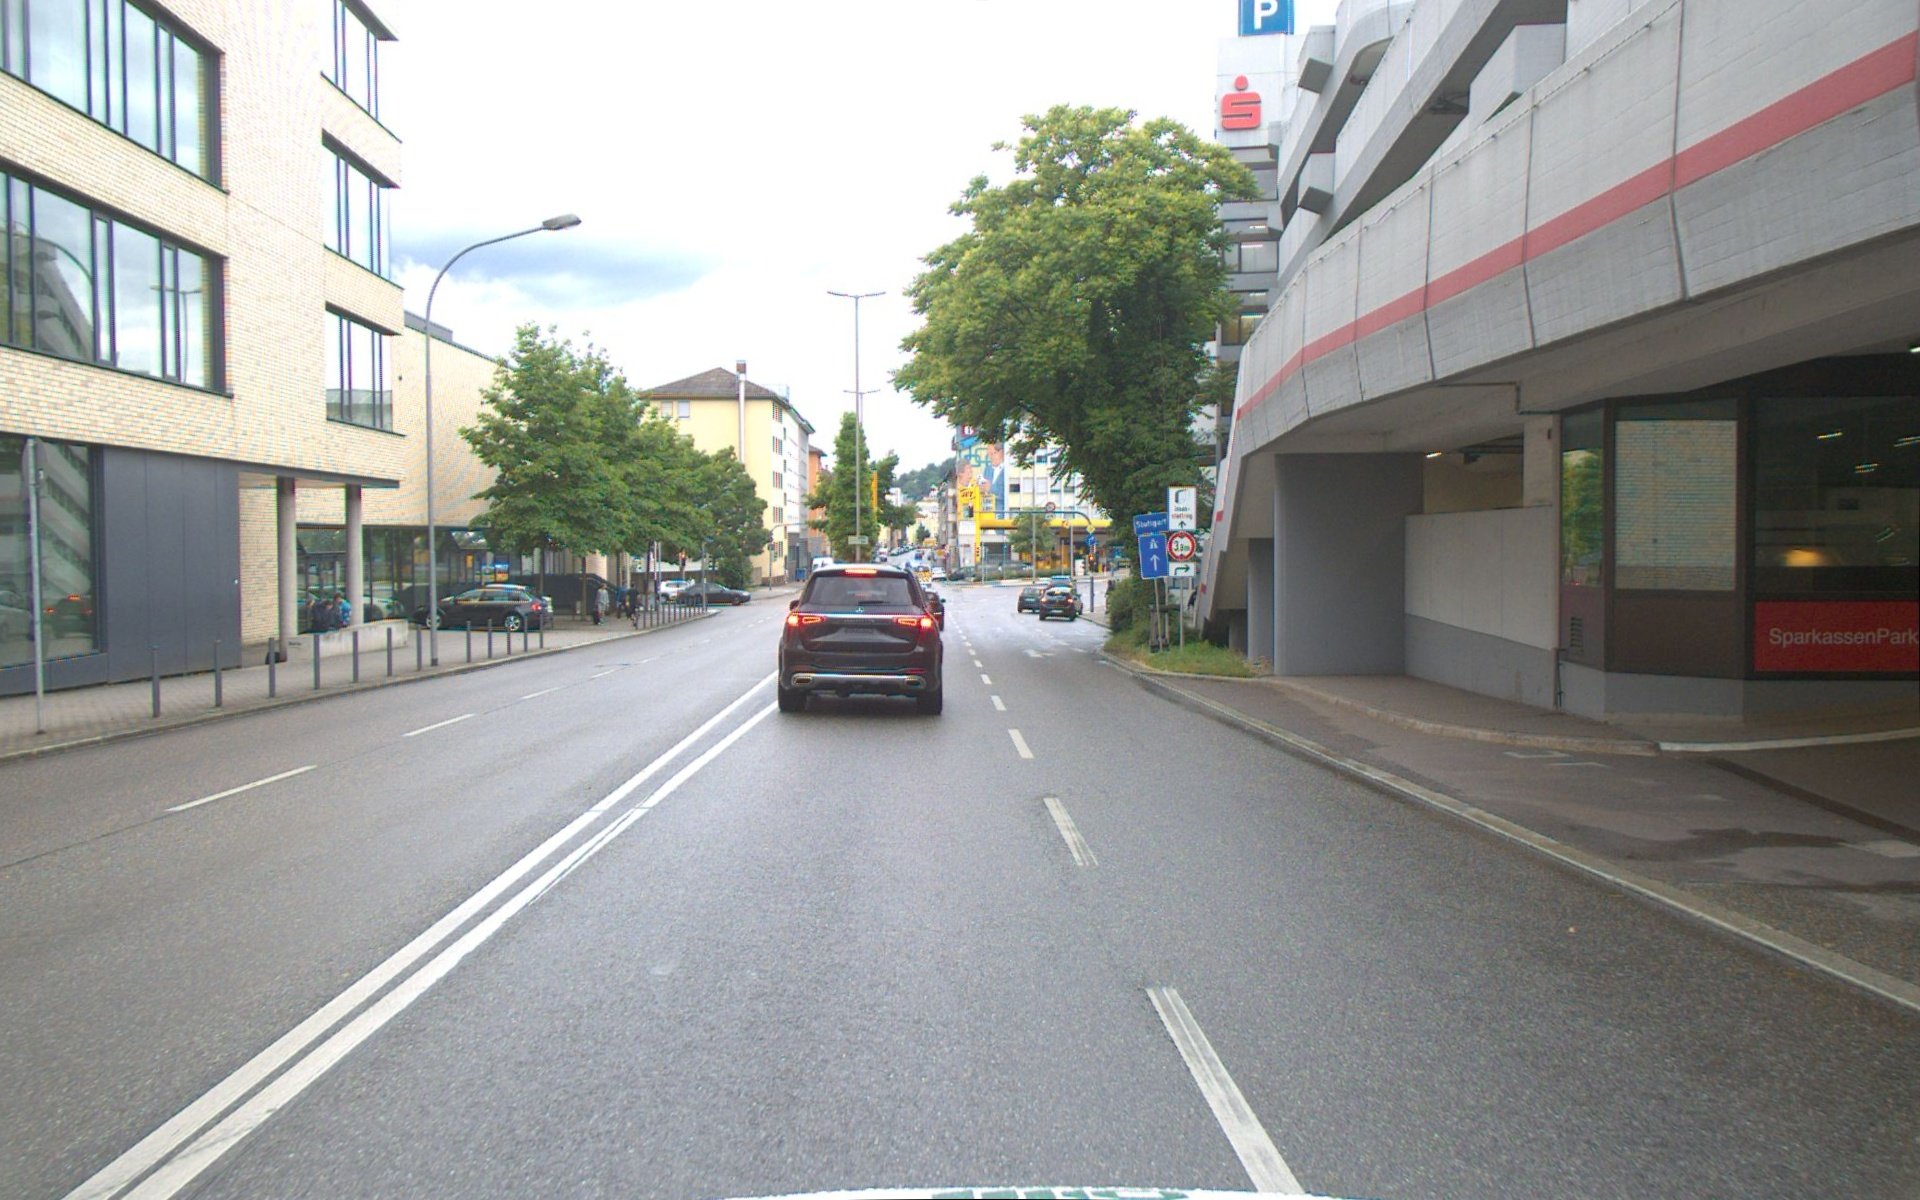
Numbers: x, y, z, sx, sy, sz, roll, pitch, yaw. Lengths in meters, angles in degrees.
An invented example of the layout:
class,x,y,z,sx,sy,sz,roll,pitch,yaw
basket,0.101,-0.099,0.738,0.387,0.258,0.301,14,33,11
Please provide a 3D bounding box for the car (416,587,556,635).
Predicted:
class,x,y,z,sx,sy,sz,roll,pitch,yaw
car,-16.329,0.372,57.138,4.384,1.615,1.997,0,0,-8

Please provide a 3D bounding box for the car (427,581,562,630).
class,x,y,z,sx,sy,sz,roll,pitch,yaw
car,-16.626,0.187,59.211,4.332,1.601,1.998,1,2,-7

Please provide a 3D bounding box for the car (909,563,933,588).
class,x,y,z,sx,sy,sz,roll,pitch,yaw
car,-3.343,-2.116,140.471,1.954,2.048,3.998,2,1,-3

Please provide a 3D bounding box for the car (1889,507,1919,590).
class,x,y,z,sx,sy,sz,roll,pitch,yaw
car,21.635,-1.013,34.027,3.902,1.668,2.001,2,0,8

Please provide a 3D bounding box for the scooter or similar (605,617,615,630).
class,x,y,z,sx,sy,sz,roll,pitch,yaw
scooter or similar,-14.229,0.949,67.241,0.274,0.509,0.616,2,0,-1

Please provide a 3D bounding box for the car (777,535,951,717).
class,x,y,z,sx,sy,sz,roll,pitch,yaw
car,-1.187,0.316,21.096,1.954,2.049,3.998,2,0,-3

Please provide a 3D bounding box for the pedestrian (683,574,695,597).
class,x,y,z,sx,sy,sz,roll,pitch,yaw
pedestrian,-18.000,-0.980,109.824,0.697,1.487,0.598,2,-1,-3

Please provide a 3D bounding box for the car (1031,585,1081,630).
class,x,y,z,sx,sy,sz,roll,pitch,yaw
car,4.586,0.346,79.676,1.954,2.049,3.998,1,1,-3

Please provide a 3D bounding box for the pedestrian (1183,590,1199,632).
class,x,y,z,sx,sy,sz,roll,pitch,yaw
pedestrian,8.594,0.409,61.600,0.539,1.559,0.488,1,-1,5

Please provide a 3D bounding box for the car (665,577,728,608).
class,x,y,z,sx,sy,sz,roll,pitch,yaw
car,-17.133,-0.481,107.314,3.919,1.976,1.993,0,0,-14

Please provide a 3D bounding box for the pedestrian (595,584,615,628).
class,x,y,z,sx,sy,sz,roll,pitch,yaw
pedestrian,-14.391,0.249,66.999,0.662,1.726,0.479,2,1,-3

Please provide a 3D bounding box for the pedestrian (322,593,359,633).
class,x,y,z,sx,sy,sz,roll,pitch,yaw
pedestrian,-14.645,0.307,39.094,0.667,0.901,0.524,2,-1,-2

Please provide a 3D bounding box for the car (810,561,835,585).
class,x,y,z,sx,sy,sz,roll,pitch,yaw
car,-11.852,-2.350,142.685,1.954,1.908,5.139,2,0,-3

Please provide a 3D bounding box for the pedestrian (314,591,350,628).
class,x,y,z,sx,sy,sz,roll,pitch,yaw
pedestrian,-14.796,0.227,38.971,0.574,0.859,0.727,1,0,-1

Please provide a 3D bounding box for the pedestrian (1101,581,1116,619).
class,x,y,z,sx,sy,sz,roll,pitch,yaw
pedestrian,7.707,-0.022,85.994,0.648,1.951,0.729,1,-1,12

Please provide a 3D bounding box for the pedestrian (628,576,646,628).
class,x,y,z,sx,sy,sz,roll,pitch,yaw
pedestrian,-13.015,0.103,66.627,0.576,2.049,0.748,2,-2,-3

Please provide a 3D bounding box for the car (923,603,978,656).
class,x,y,z,sx,sy,sz,roll,pitch,yaw
car,-0.365,1.001,57.875,1.670,1.746,3.440,2,0,-4

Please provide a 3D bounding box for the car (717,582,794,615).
class,x,y,z,sx,sy,sz,roll,pitch,yaw
car,-12.821,-0.086,103.623,4.716,2.049,1.996,0,1,-9

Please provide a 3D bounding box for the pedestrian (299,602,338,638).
class,x,y,z,sx,sy,sz,roll,pitch,yaw
pedestrian,-14.743,0.464,38.009,0.586,0.800,0.760,2,0,-1

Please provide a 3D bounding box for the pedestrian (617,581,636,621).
class,x,y,z,sx,sy,sz,roll,pitch,yaw
pedestrian,-14.714,0.051,73.001,0.675,1.756,0.753,2,-2,-3

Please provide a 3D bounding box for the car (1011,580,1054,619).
class,x,y,z,sx,sy,sz,roll,pitch,yaw
car,3.990,0.003,91.647,1.954,2.049,3.998,2,0,-3
